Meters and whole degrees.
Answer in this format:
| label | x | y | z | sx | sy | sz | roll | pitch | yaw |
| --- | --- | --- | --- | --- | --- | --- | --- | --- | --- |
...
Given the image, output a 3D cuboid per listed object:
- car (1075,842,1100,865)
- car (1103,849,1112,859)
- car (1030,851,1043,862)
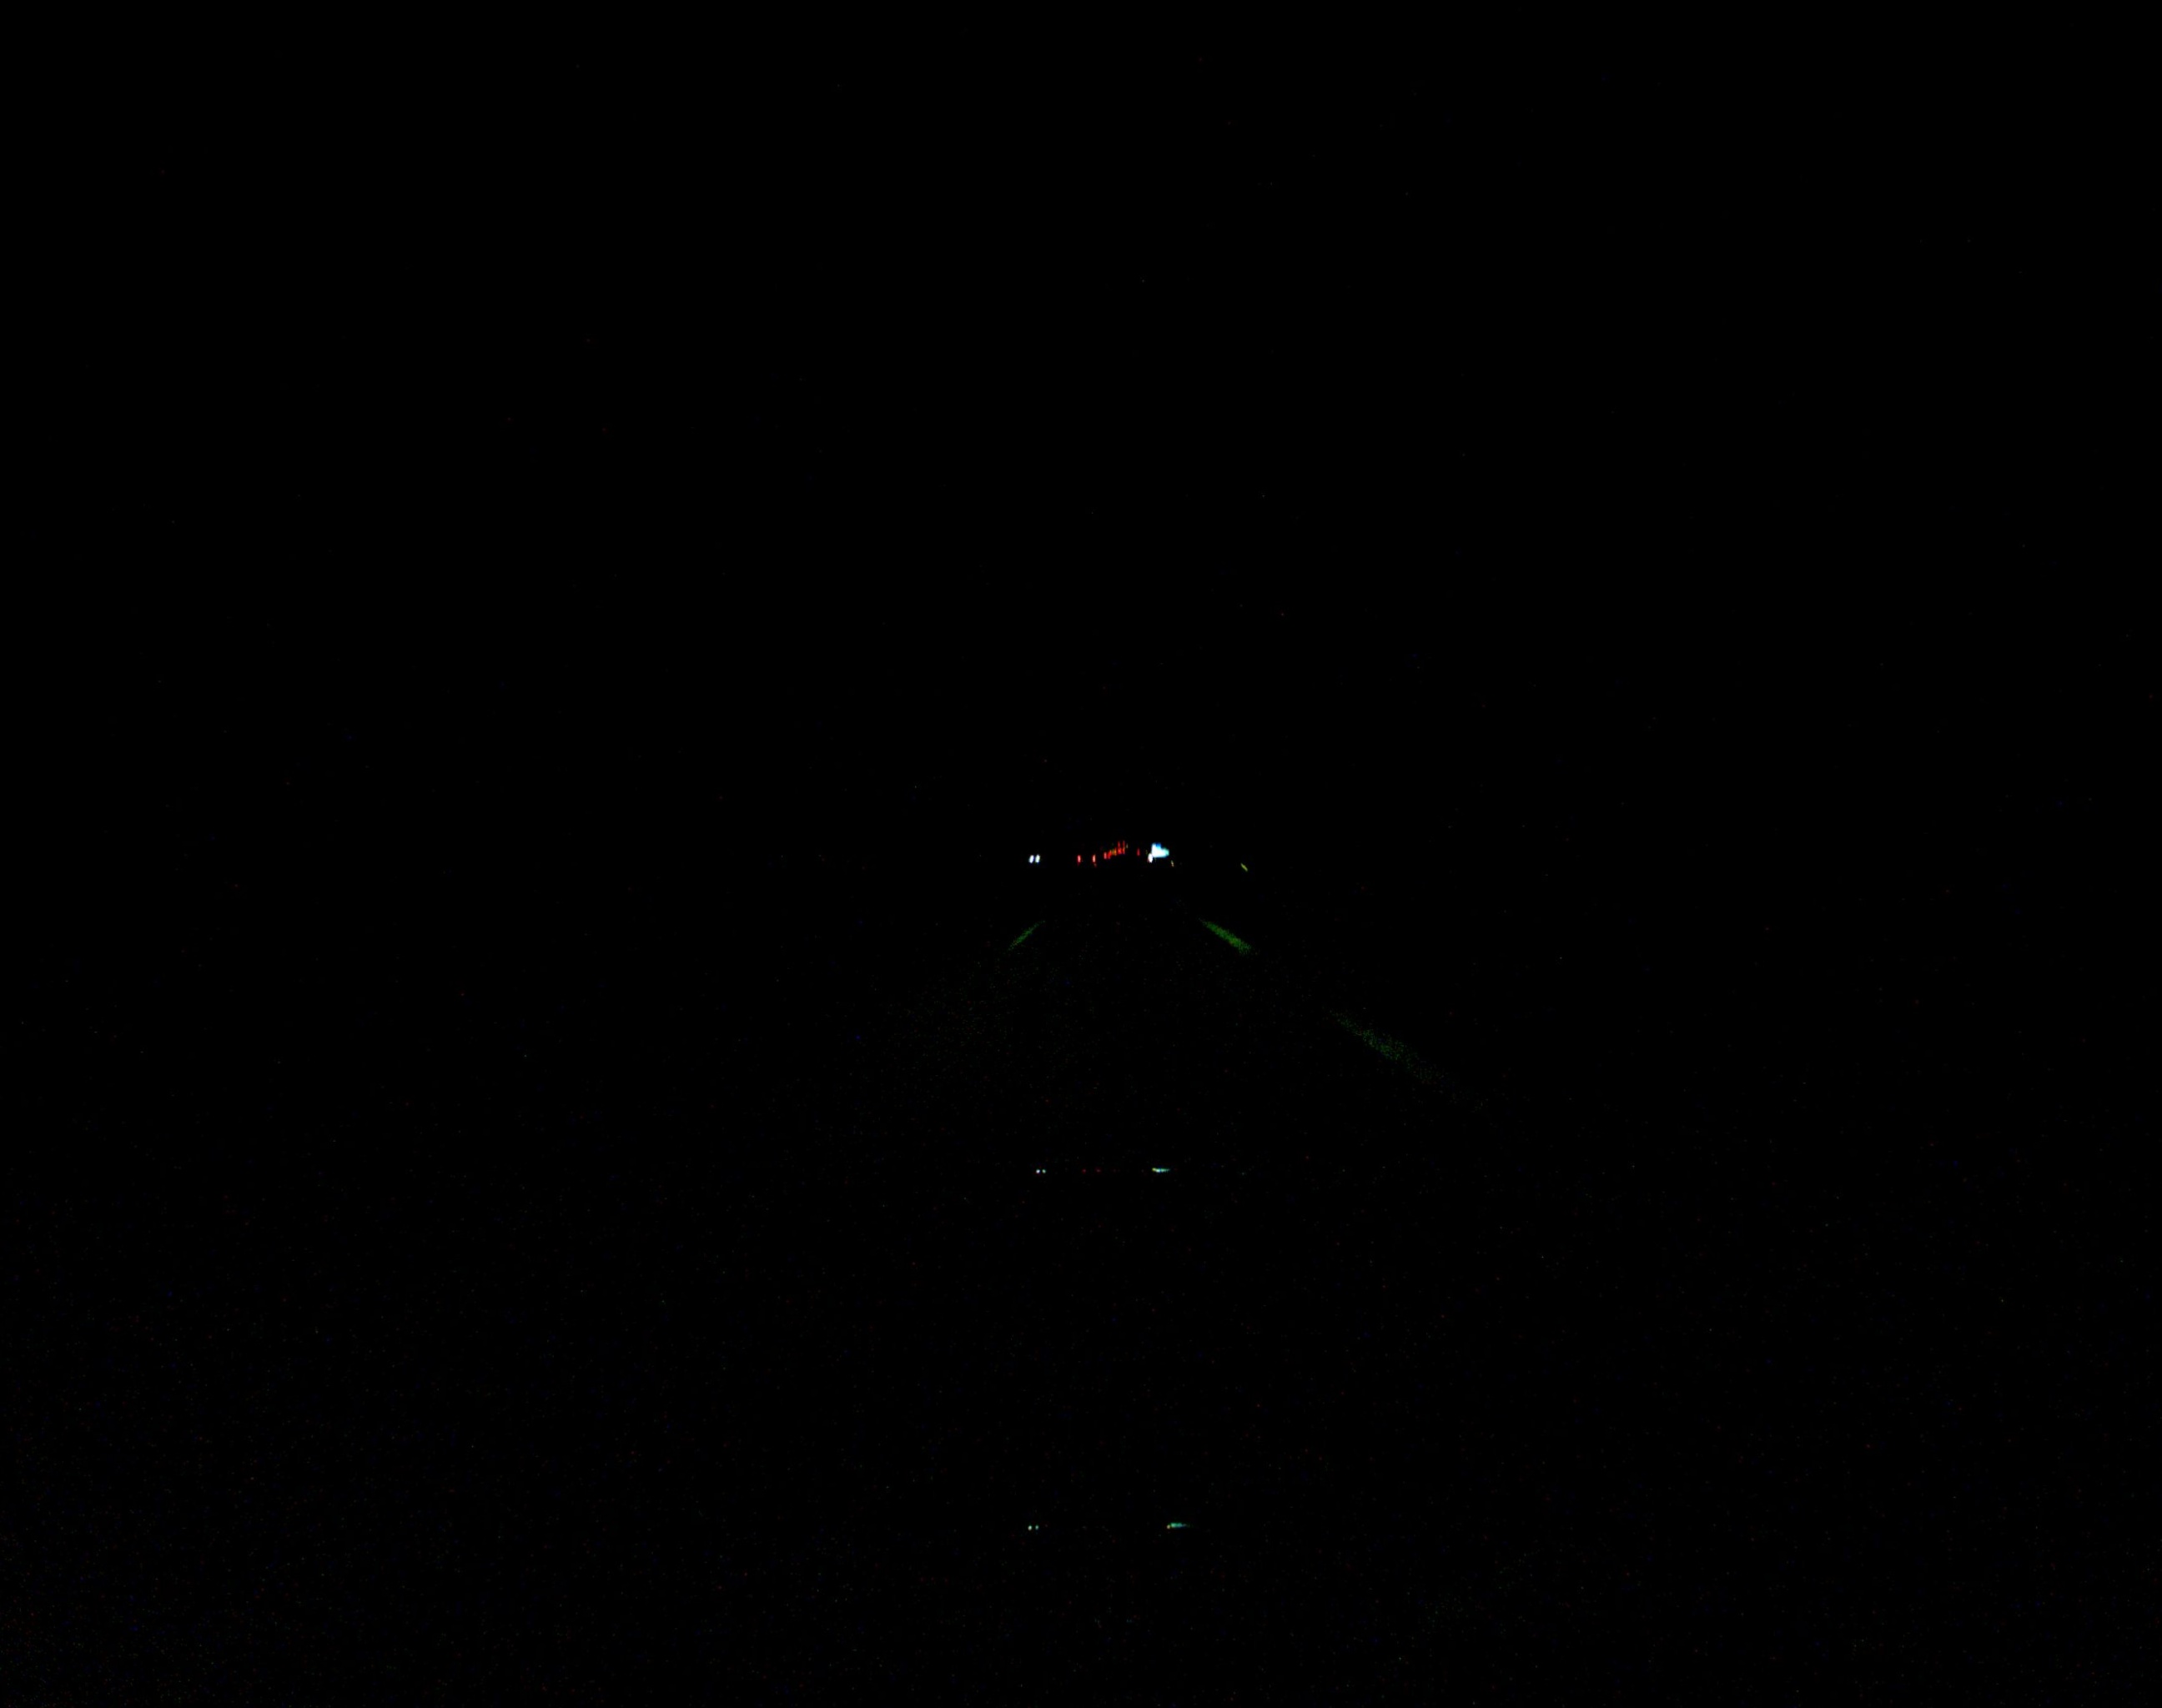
| label | x | y | z | sx | sy | sz | roll | pitch | yaw |
| --- | --- | --- | --- | --- | --- | --- | --- | --- | --- |
| car | 0.887 | -0.032 | 101.705 | 2.776 | 2.733 | 6.302 | -2 | -1 | 2 |
| car | 8.245 | -0.005 | 257.766 | 2.776 | 2.733 | 6.300 | -2 | -1 | 1 |
| car | -12.195 | 0.582 | 222.488 | 2.835 | 2.937 | 6.605 | -1 | 0 | 2 |
